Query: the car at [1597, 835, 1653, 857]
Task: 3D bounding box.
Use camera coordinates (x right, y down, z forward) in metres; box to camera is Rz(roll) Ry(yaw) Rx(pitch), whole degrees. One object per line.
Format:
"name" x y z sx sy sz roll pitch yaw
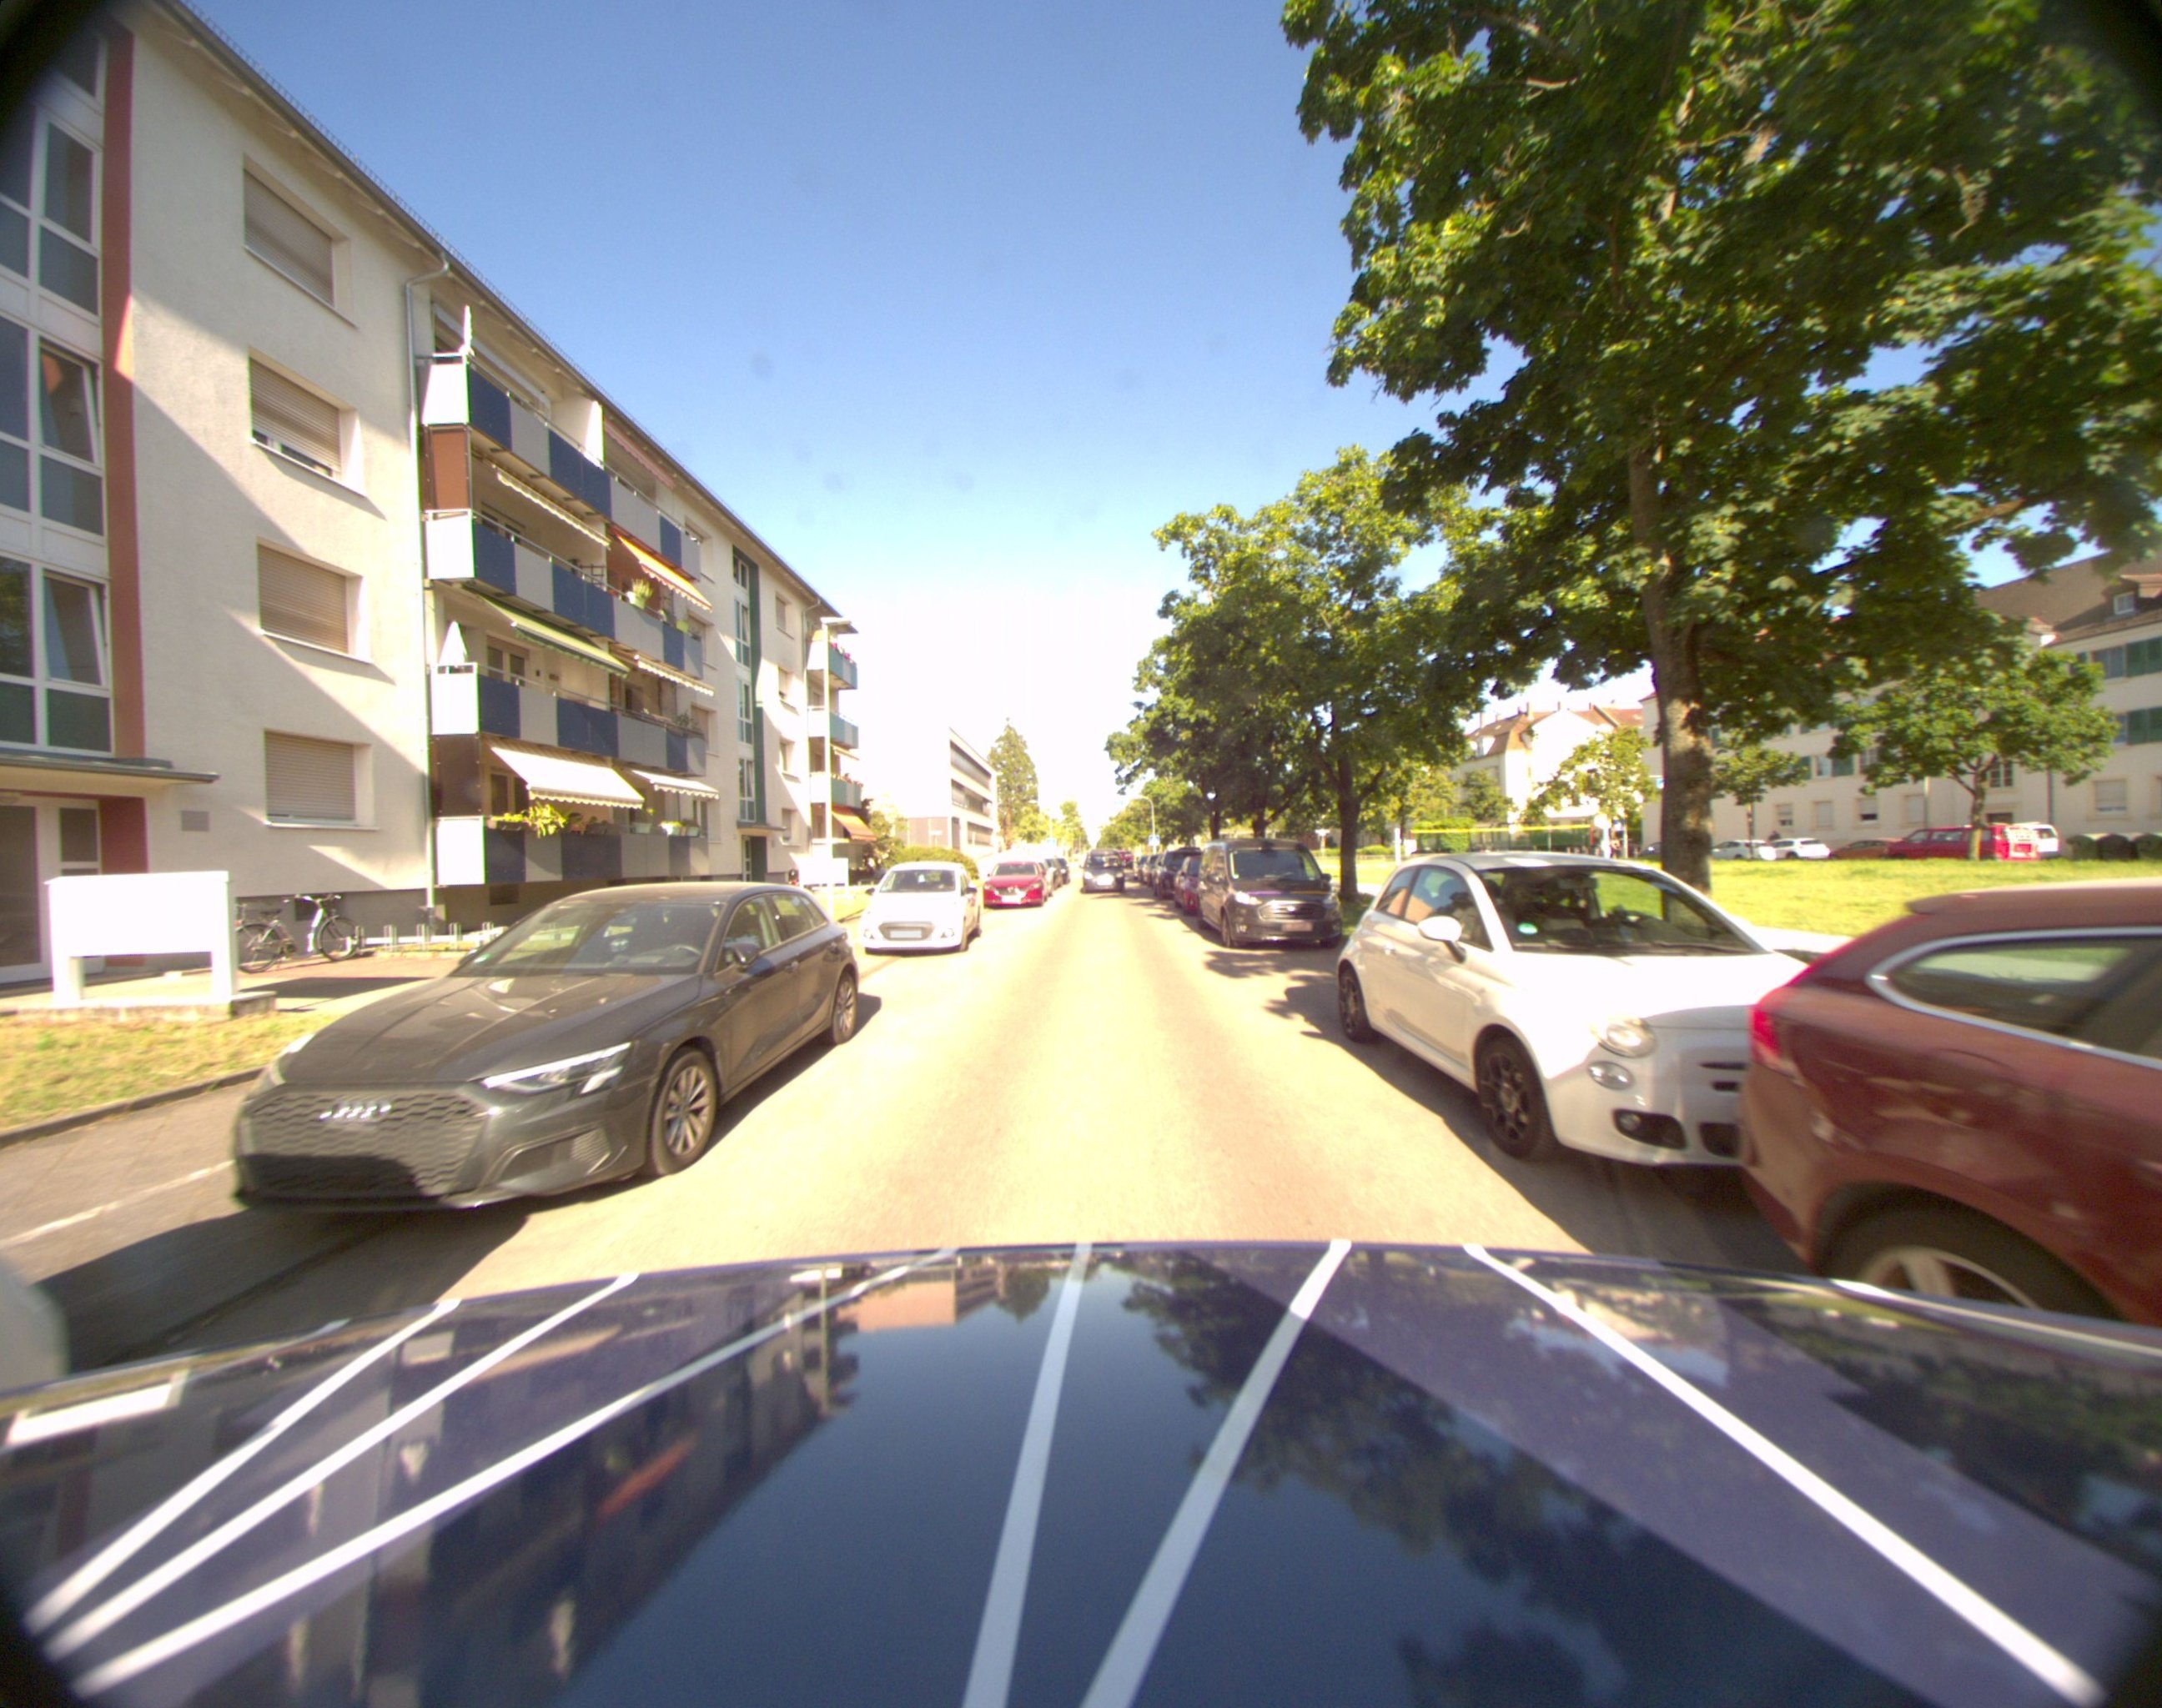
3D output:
"car" 51.961 -0.760 72.613 3.812 1.944 2.043 -2 1 3

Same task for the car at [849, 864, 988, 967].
"car" -2.740 0.977 13.662 1.752 1.490 3.860 -1 0 -2

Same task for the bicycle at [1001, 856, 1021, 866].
"bicycle" -7.826 0.761 84.998 2.029 1.057 0.883 1 1 1

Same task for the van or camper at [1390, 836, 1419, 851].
"van or camper" 45.359 -1.480 106.752 2.273 2.002 4.374 -2 1 2

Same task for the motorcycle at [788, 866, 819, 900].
"motorcycle" -10.265 1.062 28.169 0.584 1.145 2.036 -2 1 -8

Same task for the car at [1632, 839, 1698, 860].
"car" 38.502 -0.303 50.156 1.654 1.325 3.515 -1 0 0

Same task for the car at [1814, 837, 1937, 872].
"car" 44.108 0.017 42.368 1.999 1.753 4.644 -1 0 -1

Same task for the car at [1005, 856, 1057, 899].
"car" -1.911 0.866 30.375 1.878 1.525 4.492 -2 0 -2

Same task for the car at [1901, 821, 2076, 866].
"car" 44.055 -0.499 37.121 2.226 1.973 5.257 -2 0 -1

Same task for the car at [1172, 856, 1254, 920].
"car" 3.285 0.788 19.560 1.541 1.420 4.088 -1 0 2

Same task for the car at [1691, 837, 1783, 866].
"car" 38.570 -0.168 44.807 1.793 1.574 4.235 -2 0 0

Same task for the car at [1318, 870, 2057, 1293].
"car" 2.830 0.891 4.672 1.590 1.484 3.685 0 0 0

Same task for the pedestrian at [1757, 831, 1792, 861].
"pedestrian" 46.552 -0.524 51.013 1.343 1.952 1.163 -2 1 -4

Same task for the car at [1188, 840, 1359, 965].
"car" 3.137 0.662 13.471 1.869 1.774 4.991 -1 1 2

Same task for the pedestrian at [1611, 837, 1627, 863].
"pedestrian" 33.946 -0.252 47.968 0.544 1.675 0.674 -1 1 6

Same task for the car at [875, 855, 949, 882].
"car" -11.151 0.957 50.393 4.418 1.614 1.914 -2 1 -1

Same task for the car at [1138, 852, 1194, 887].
"car" 4.006 0.689 36.618 1.999 1.507 5.157 0 0 -1

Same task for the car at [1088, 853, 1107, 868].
"car" 1.635 0.628 72.457 1.652 1.324 4.935 -2 0 3

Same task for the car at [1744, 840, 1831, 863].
"car" 44.195 -0.179 47.663 1.773 1.348 4.000 -1 0 1

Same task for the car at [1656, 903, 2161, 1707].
"car" 2.821 0.918 0.226 1.760 1.483 4.667 0 0 0

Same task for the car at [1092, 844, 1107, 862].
"car" 2.763 -0.164 114.105 2.074 2.583 6.203 -2 0 3

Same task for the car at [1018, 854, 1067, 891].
"car" -1.732 0.816 35.519 1.774 1.520 4.558 -2 0 3

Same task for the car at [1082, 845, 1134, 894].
"car" 1.063 0.592 30.792 1.902 1.779 4.157 -2 0 1

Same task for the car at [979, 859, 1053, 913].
"car" -1.981 0.931 24.576 1.848 1.464 5.065 -2 0 1

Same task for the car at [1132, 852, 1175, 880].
"car" 3.953 0.618 42.214 1.840 1.444 4.967 -1 0 -1

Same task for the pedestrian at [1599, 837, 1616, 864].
"pedestrian" 33.257 -0.239 48.006 0.544 1.675 0.750 -1 1 3

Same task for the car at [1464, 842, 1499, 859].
"car" 44.834 -0.377 85.081 1.954 1.783 4.000 -2 0 3

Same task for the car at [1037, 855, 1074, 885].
"car" -1.337 0.822 40.986 1.662 1.465 3.793 -3 0 2

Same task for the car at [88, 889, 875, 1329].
"car" -2.845 1.058 5.081 1.703 1.427 4.471 0 0 0

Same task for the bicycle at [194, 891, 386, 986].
"bicycle" -10.792 1.104 10.488 0.524 1.064 2.009 1 0 1

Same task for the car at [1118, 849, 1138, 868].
"car" 5.137 0.459 82.437 2.021 1.867 4.741 -2 0 5

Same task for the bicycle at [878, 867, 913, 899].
"bicycle" -6.864 1.055 28.219 0.721 1.071 1.897 -2 0 3

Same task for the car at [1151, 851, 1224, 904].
"car" 3.489 0.731 25.825 2.030 1.616 4.758 0 0 3

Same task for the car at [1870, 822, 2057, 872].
"car" 38.626 -0.297 33.526 2.226 1.973 5.258 -2 0 1

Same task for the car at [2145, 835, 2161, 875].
"car" 40.985 0.024 26.077 1.998 1.476 4.958 -1 0 1

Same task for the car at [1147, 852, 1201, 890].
"car" 3.795 0.670 31.555 1.884 1.411 3.803 -1 1 2
